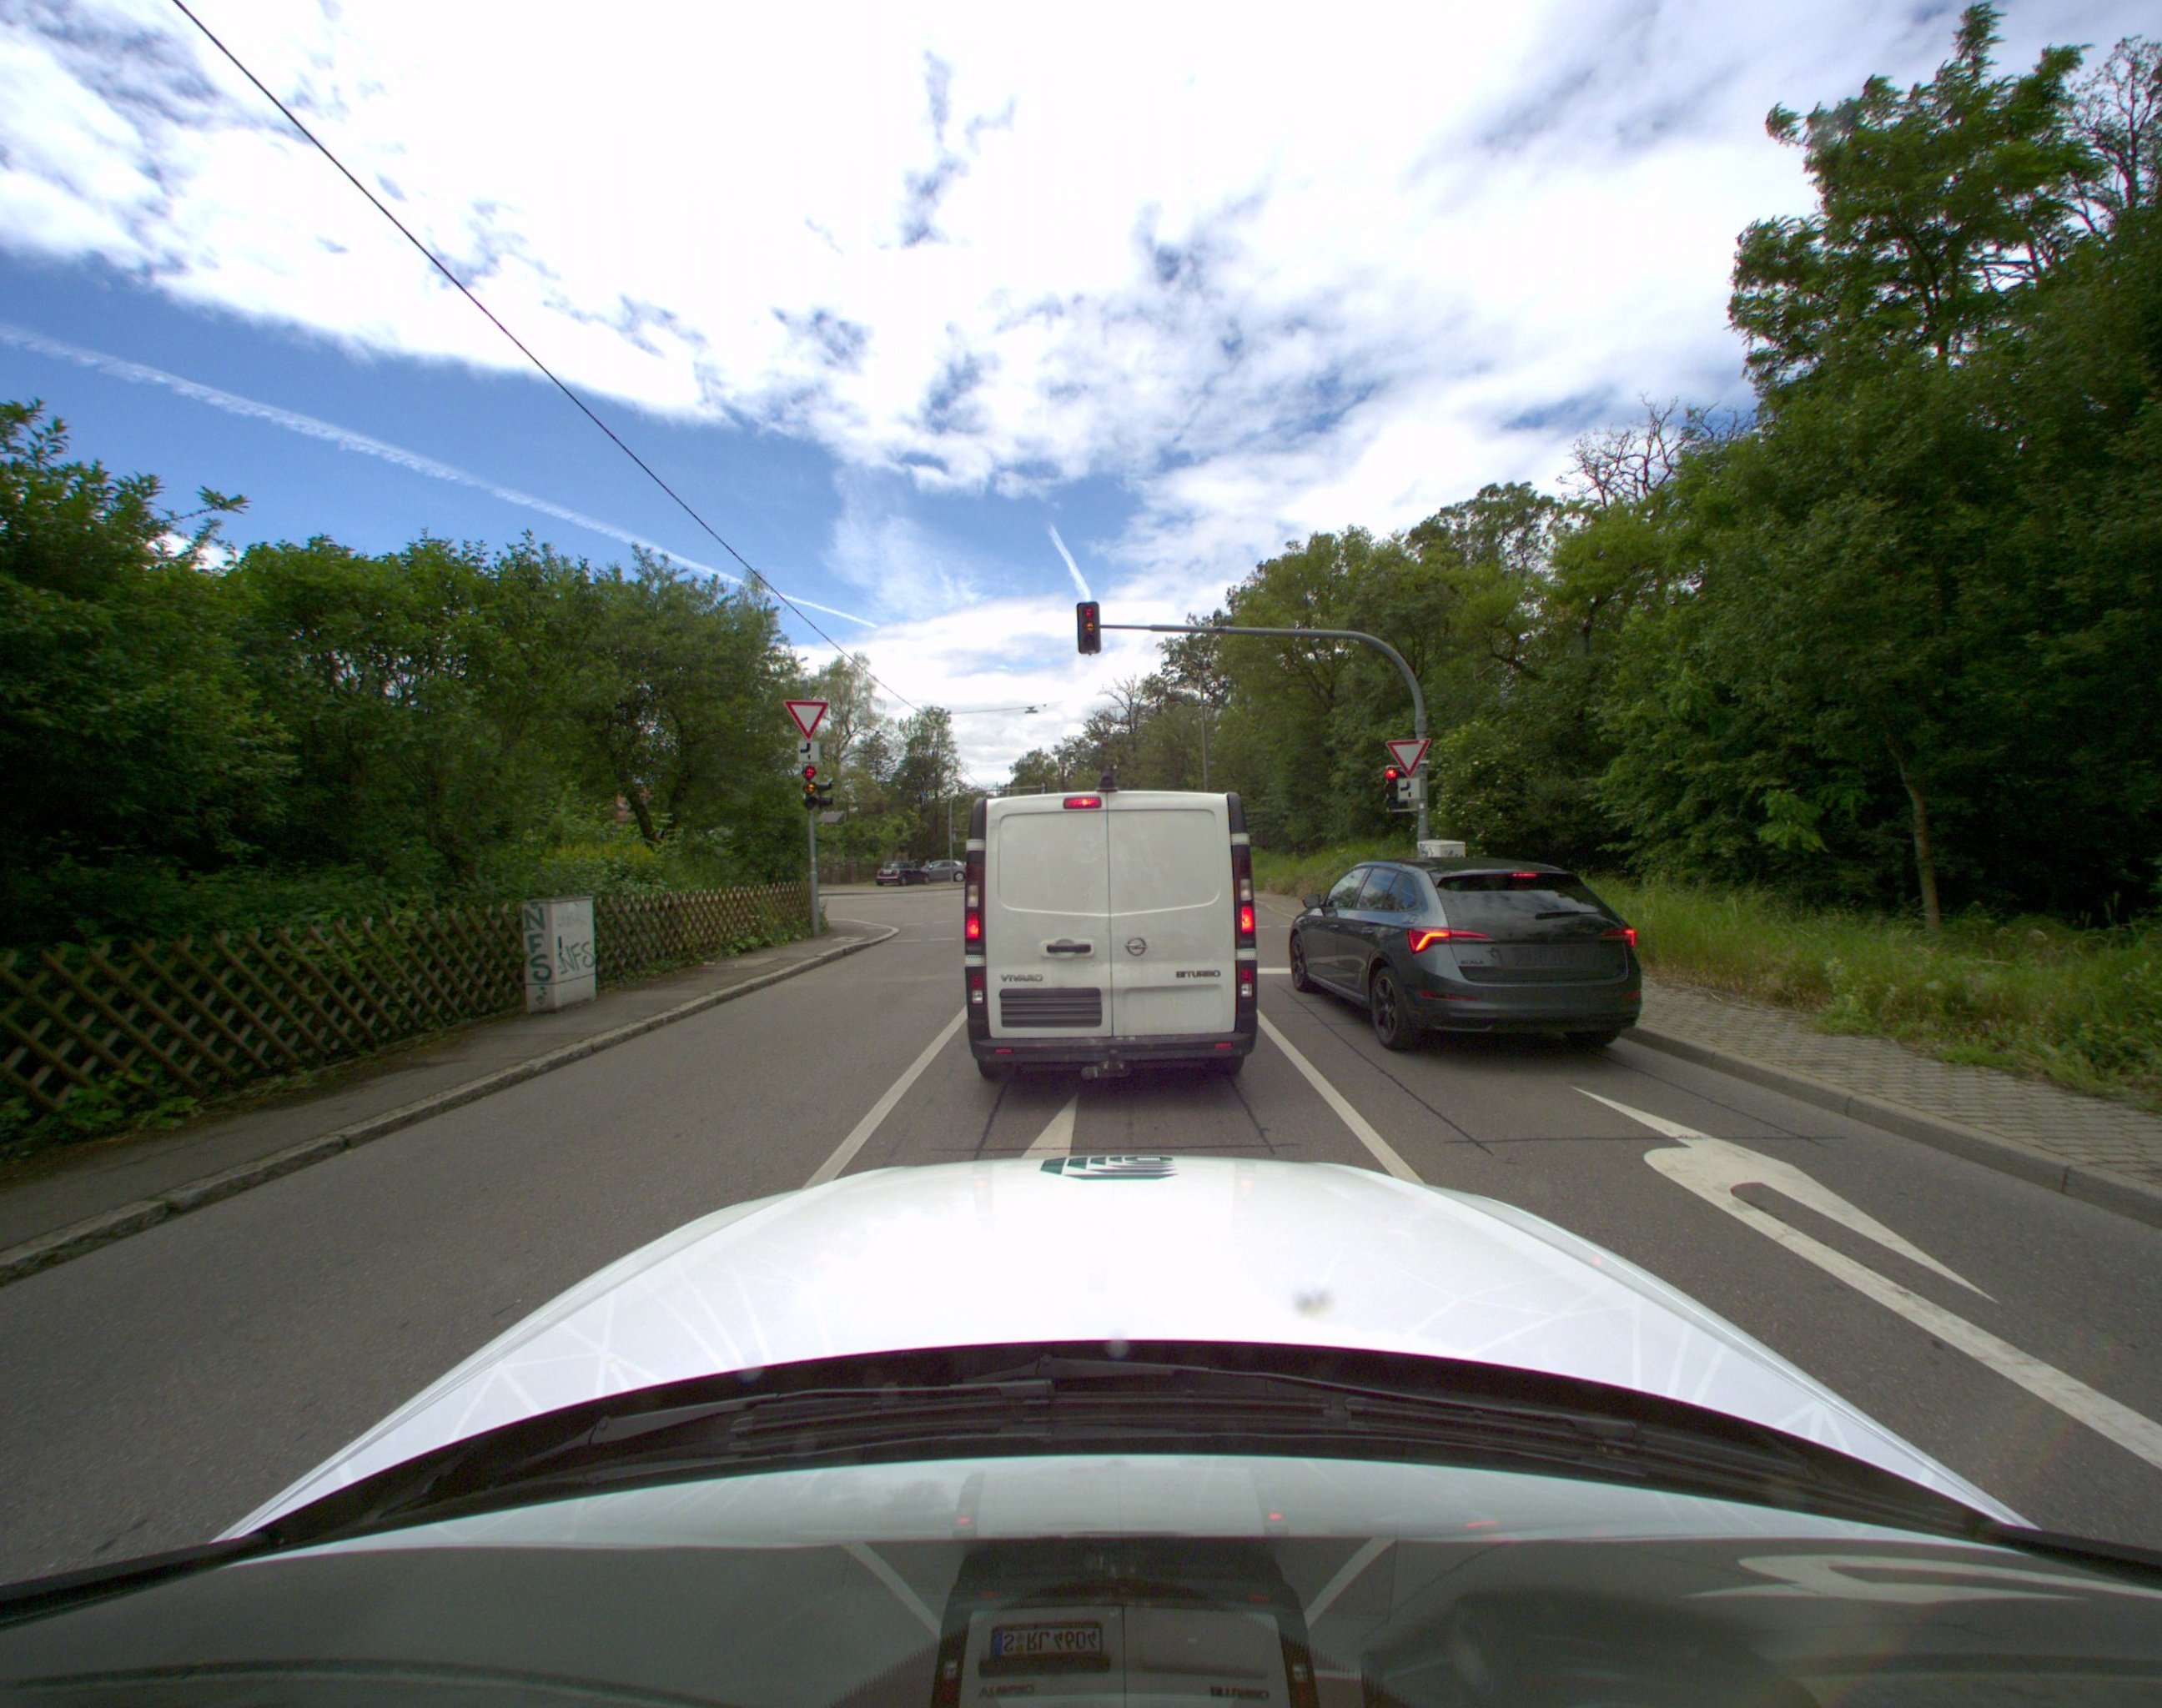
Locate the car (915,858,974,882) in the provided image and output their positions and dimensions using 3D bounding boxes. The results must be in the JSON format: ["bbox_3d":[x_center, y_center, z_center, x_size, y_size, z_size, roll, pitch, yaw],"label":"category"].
[{"bbox_3d":[-10.037,1.157,59.822,4.094,1.553,1.845,-1,0,-16],"label":"car"}]

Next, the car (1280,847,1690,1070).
[{"bbox_3d":[3.195,0.695,7.450,1.786,1.450,4.000,-1,0,1],"label":"car"}]

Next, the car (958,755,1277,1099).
[{"bbox_3d":[0.215,0.435,7.184,1.910,2.053,4.613,0,0,0],"label":"car"}]

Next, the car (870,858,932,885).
[{"bbox_3d":[-10.273,0.996,46.703,1.683,1.449,3.562,1,0,22],"label":"car"}]

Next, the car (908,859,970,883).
[{"bbox_3d":[-9.946,1.163,57.032,4.094,1.553,1.845,-1,0,-16],"label":"car"}]

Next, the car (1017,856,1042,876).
[{"bbox_3d":[-4.183,0.937,66.577,1.852,1.507,3.996,-1,0,-2],"label":"car"}]
